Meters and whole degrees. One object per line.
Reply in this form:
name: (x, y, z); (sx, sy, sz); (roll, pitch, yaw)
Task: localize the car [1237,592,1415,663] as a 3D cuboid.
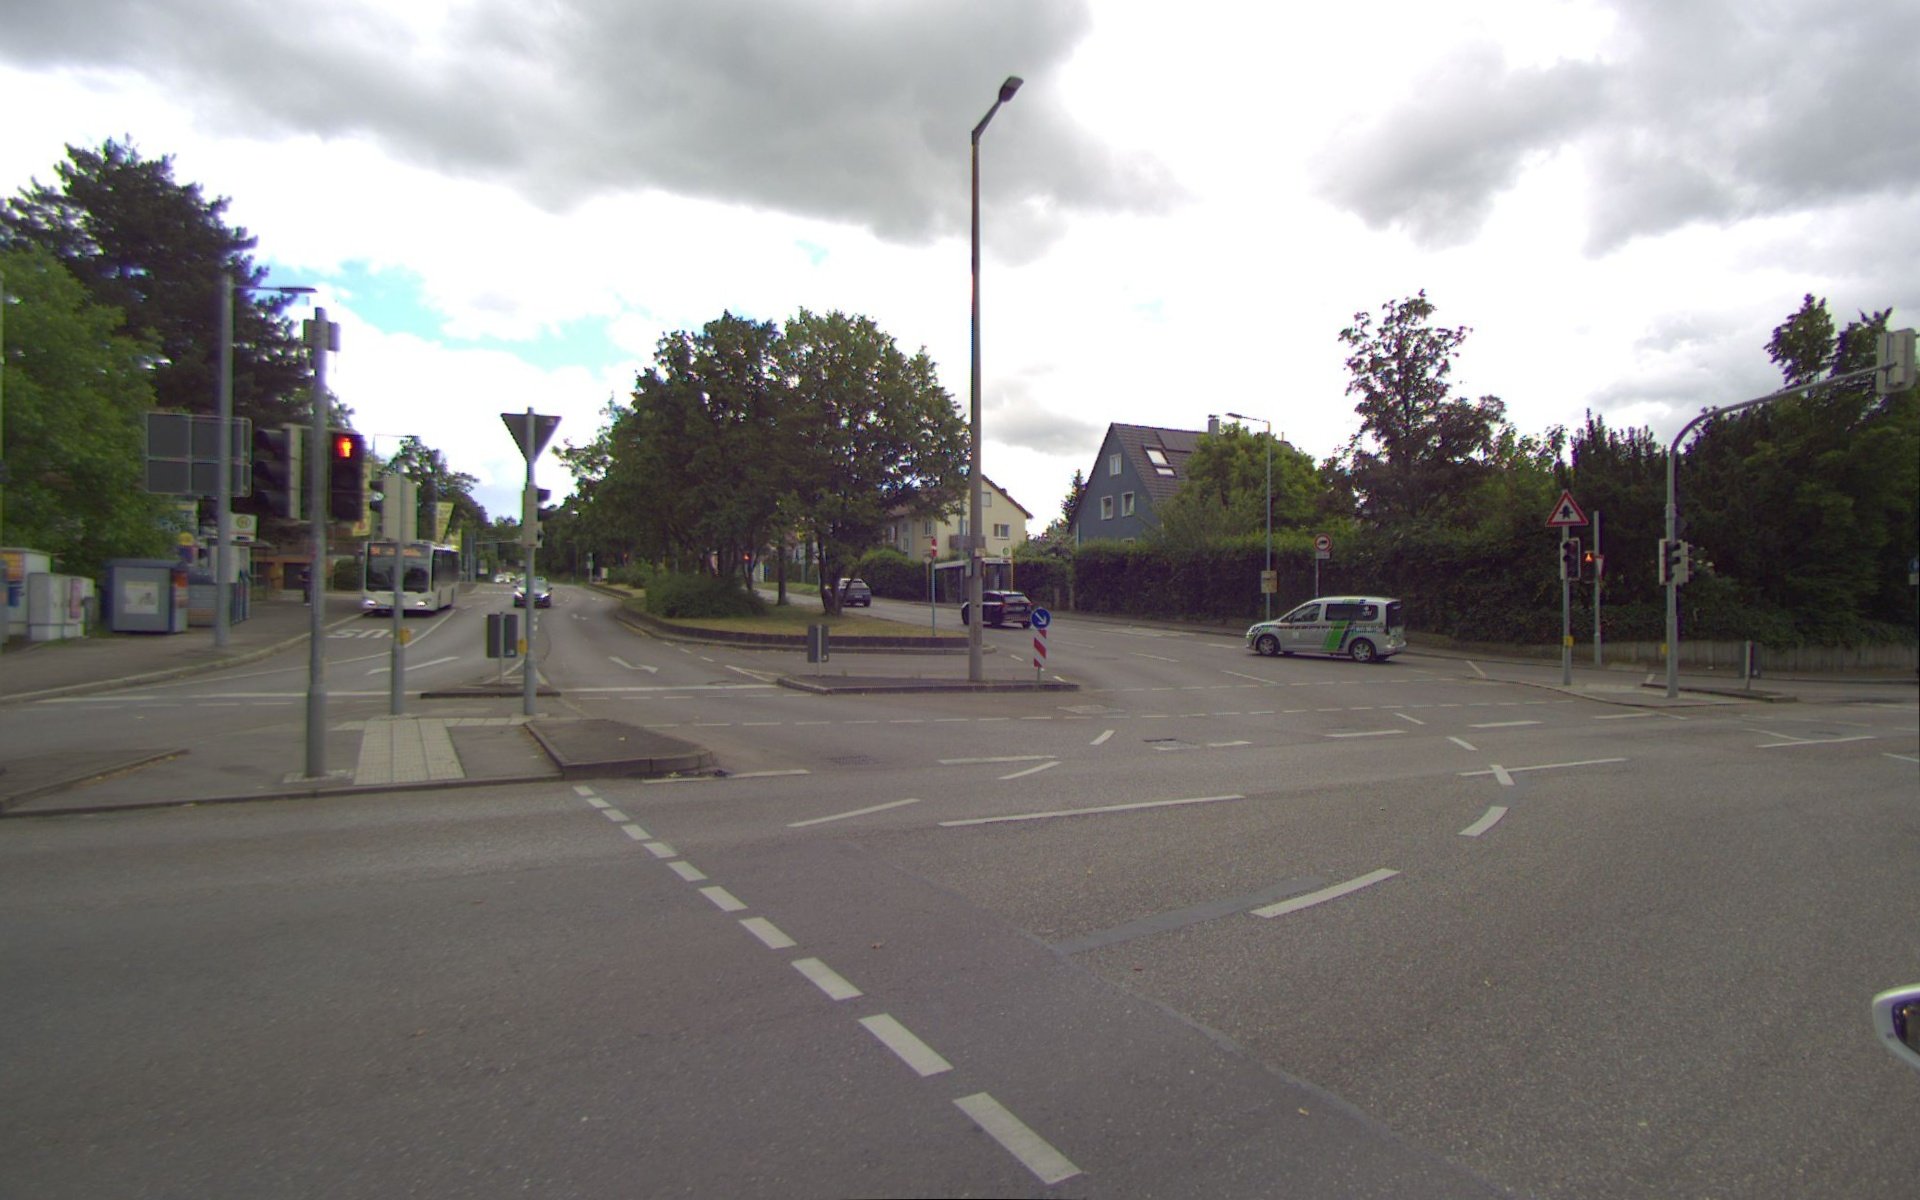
car: (10.600, 0.736, 29.226); (4.470, 1.899, 1.941); (1, 0, 38)

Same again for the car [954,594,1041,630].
car: (1.543, 0.506, 43.317); (1.922, 1.442, 4.514); (1, 0, -24)

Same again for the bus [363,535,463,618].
bus: (-24.392, -1.231, 45.357); (2.641, 3.205, 12.278); (2, 2, -23)

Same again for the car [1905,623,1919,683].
car: (26.398, 1.409, 25.428); (4.273, 1.484, 1.741); (2, 0, -18)

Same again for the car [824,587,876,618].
car: (-6.840, 0.158, 61.986); (1.923, 1.836, 4.418); (1, 0, -24)

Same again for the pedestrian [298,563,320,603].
pedestrian: (-28.232, -0.715, 43.557); (0.693, 1.698, 0.564); (1, 0, -24)

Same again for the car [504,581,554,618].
car: (-23.612, -0.063, 54.946); (1.977, 1.877, 4.707); (2, 0, -30)
